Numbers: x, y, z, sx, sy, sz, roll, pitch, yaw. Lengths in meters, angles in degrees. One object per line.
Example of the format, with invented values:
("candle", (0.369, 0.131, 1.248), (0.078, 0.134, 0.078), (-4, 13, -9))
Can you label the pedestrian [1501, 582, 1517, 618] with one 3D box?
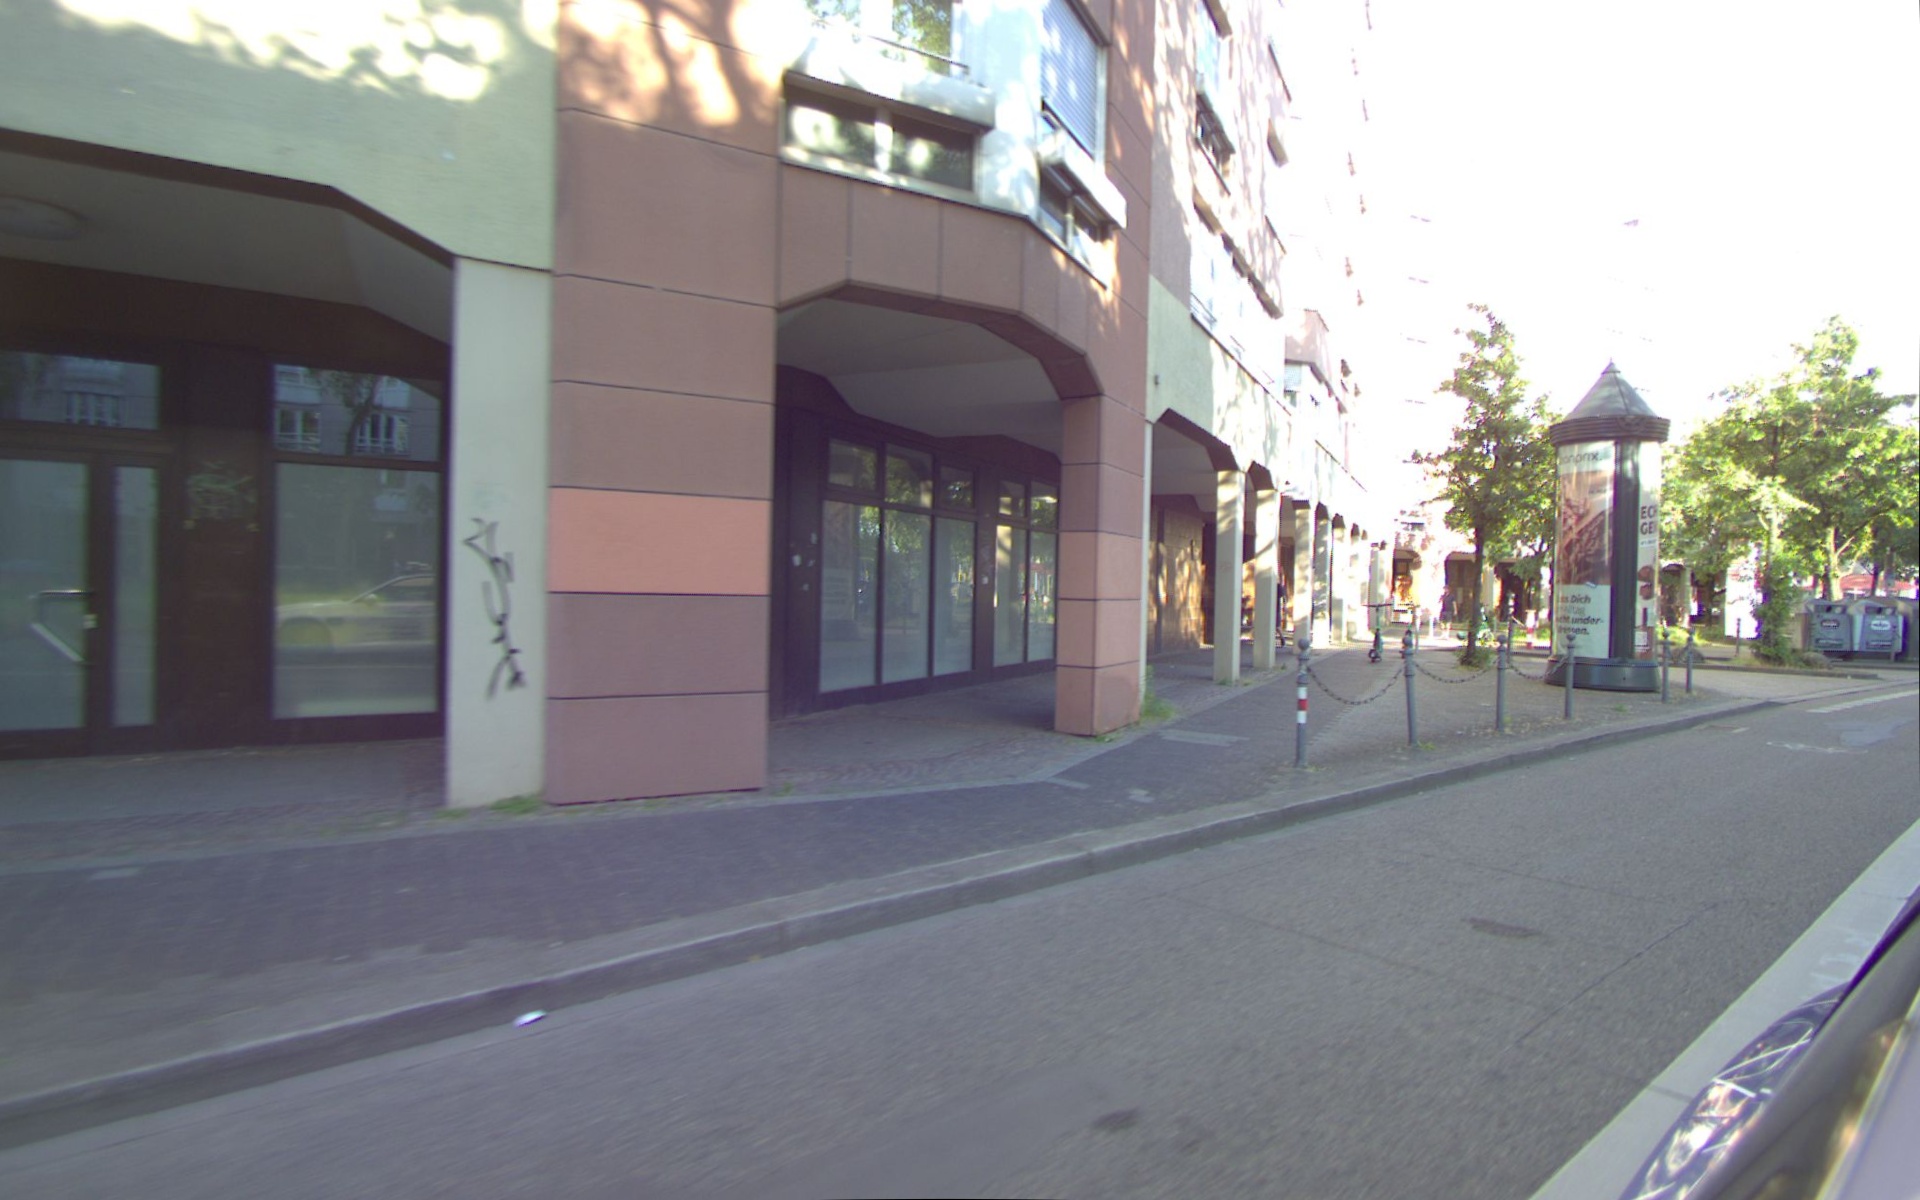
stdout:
("pedestrian", (29.255, -0.021, 53.895), (0.615, 1.894, 0.704), (1, 0, 20))

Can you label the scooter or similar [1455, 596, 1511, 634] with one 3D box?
("scooter or similar", (16.413, 0.454, 31.791), (0.548, 1.160, 1.460), (1, 1, -33))

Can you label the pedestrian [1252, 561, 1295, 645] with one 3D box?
("pedestrian", (7.687, 0.054, 24.792), (0.812, 2.006, 0.839), (1, 0, 31))

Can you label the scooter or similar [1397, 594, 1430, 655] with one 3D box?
("scooter or similar", (10.107, 0.526, 22.536), (0.482, 1.290, 1.435), (1, 1, 31))

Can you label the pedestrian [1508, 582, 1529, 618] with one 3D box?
("pedestrian", (29.056, 0.009, 52.635), (0.767, 1.828, 0.722), (1, 0, 18))

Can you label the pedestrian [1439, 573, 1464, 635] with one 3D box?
("pedestrian", (16.104, 0.130, 33.179), (0.636, 2.006, 0.767), (1, 0, 32))

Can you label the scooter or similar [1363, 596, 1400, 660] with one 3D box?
("scooter or similar", (8.580, 0.548, 20.579), (0.482, 1.232, 1.435), (1, 1, 31))
